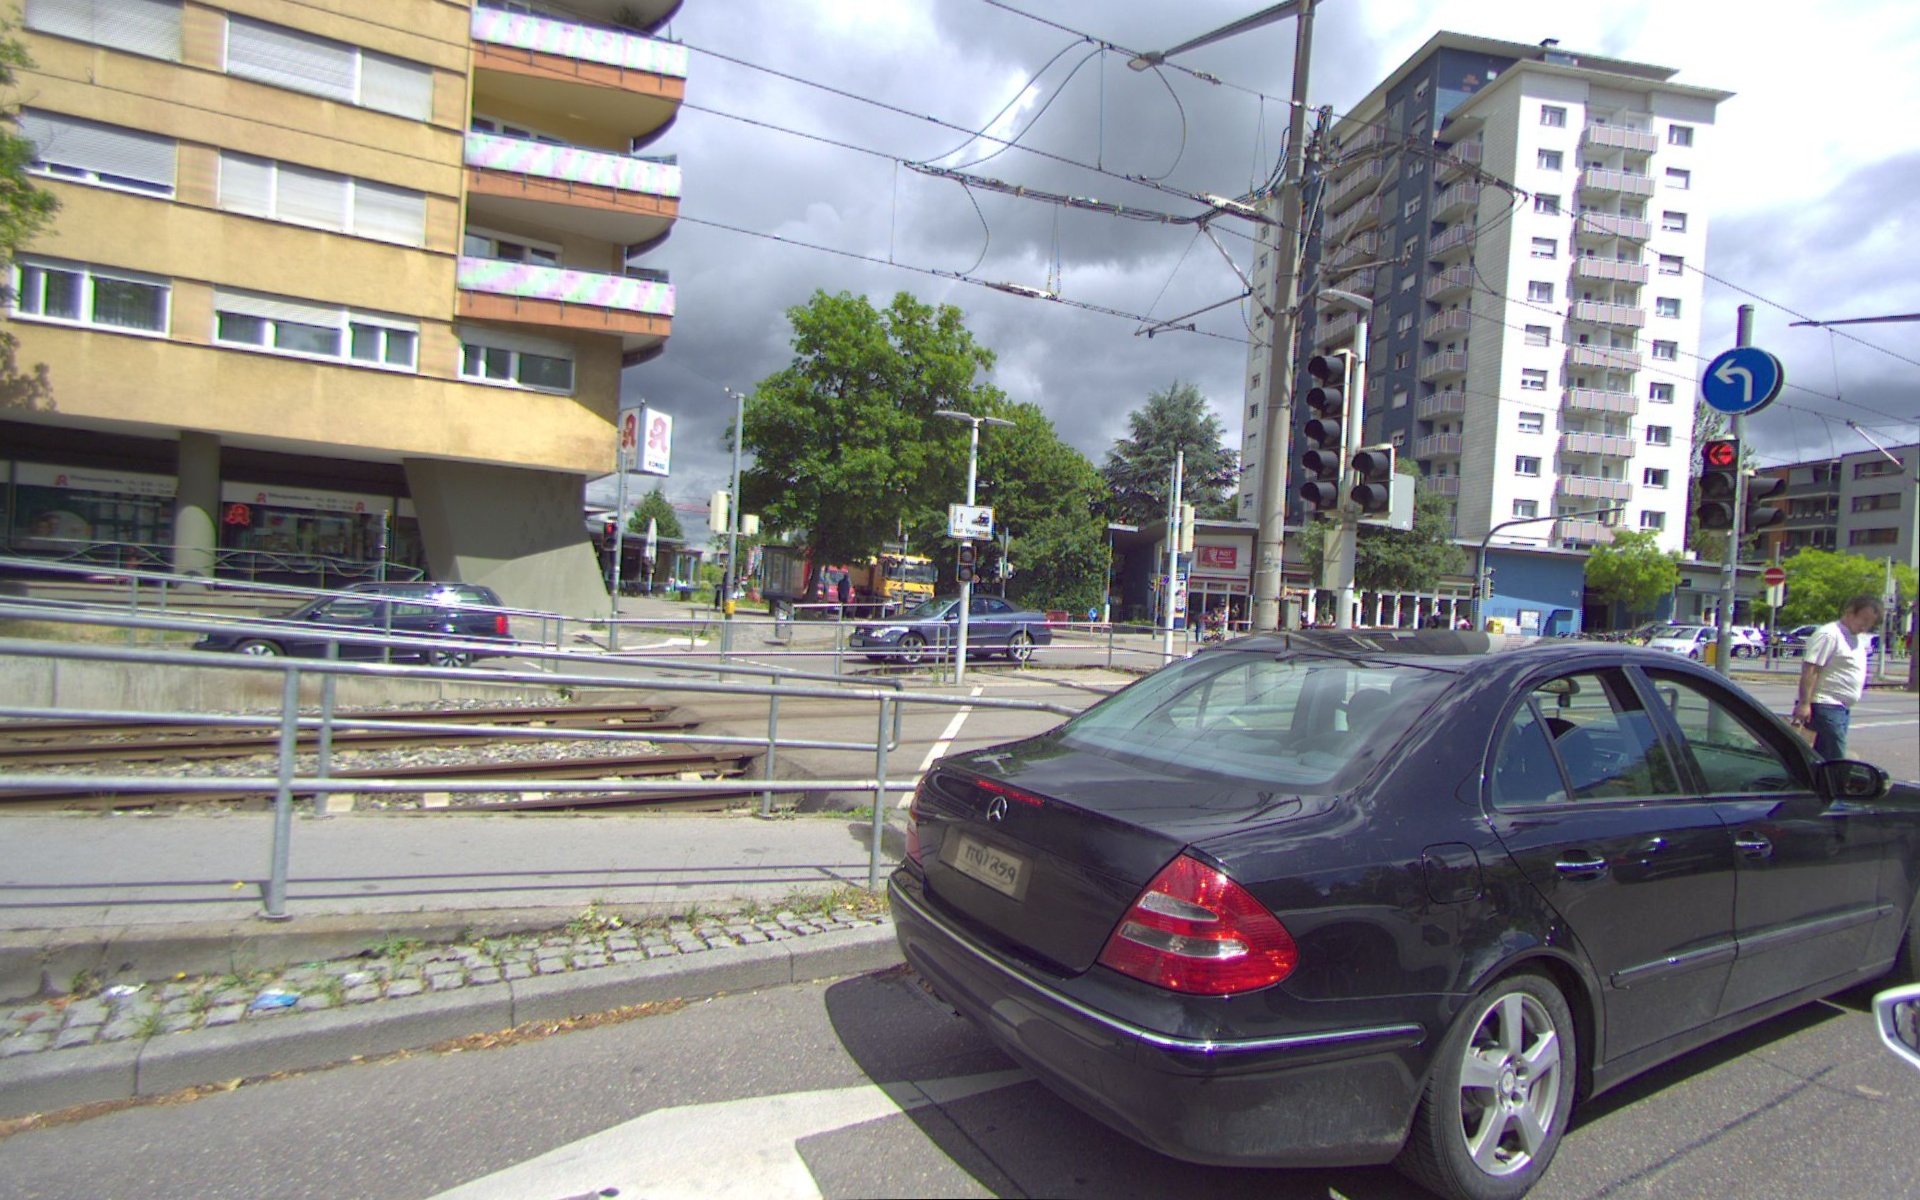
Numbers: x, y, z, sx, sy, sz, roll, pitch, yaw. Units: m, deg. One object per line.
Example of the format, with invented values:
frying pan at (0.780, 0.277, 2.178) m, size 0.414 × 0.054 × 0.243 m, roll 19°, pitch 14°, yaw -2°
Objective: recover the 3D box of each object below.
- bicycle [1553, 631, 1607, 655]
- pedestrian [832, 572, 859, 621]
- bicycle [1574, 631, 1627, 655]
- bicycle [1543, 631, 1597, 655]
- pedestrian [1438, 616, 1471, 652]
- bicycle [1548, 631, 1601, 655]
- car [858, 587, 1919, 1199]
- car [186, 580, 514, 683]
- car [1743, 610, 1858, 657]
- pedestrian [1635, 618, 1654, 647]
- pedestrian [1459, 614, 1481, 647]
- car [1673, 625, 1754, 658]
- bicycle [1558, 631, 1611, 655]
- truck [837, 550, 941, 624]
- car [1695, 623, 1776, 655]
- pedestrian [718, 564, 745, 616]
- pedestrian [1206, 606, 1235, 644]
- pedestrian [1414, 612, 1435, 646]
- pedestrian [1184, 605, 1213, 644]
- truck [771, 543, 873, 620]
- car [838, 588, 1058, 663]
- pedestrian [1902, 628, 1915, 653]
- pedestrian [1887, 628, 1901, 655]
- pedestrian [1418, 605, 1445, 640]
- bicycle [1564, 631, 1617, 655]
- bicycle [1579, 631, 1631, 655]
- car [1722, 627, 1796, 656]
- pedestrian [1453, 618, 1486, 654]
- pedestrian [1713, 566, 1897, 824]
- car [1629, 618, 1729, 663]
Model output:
bicycle at (27.067, 1.859, 43.889) m, size 0.490 × 0.947 × 1.934 m, roll 2°, pitch 0°, yaw -35°
pedestrian at (-4.109, -0.126, 35.910) m, size 0.752 × 1.636 × 0.779 m, roll 7°, pitch 1°, yaw -9°
bicycle at (28.467, 1.907, 44.684) m, size 0.490 × 0.947 × 1.934 m, roll 2°, pitch 0°, yaw -35°
bicycle at (26.285, 1.832, 43.322) m, size 0.490 × 0.947 × 1.934 m, roll 2°, pitch 0°, yaw -35°
pedestrian at (23.445, 1.617, 47.611) m, size 1.086 × 1.681 × 0.940 m, roll 2°, pitch -1°, yaw -30°
bicycle at (26.656, 1.845, 43.600) m, size 0.490 × 0.947 × 1.934 m, roll 2°, pitch 0°, yaw -35°
car at (2.031, 0.765, 3.785) m, size 4.490 × 1.481 × 1.720 m, roll 2°, pitch 0°, yaw -30°
car at (-9.391, 0.457, 15.768) m, size 4.207 × 1.433 × 1.620 m, roll 1°, pitch 0°, yaw -32°
car at (49.767, 1.925, 59.739) m, size 2.776 × 2.512 × 6.724 m, roll 2°, pitch 0°, yaw 17°
pedestrian at (38.894, 1.838, 57.090) m, size 0.759 × 1.637 × 0.694 m, roll 2°, pitch 1°, yaw 44°
pedestrian at (25.559, 1.511, 50.362) m, size 0.693 × 1.637 × 0.760 m, roll 1°, pitch 1°, yaw -43°
car at (40.104, 2.178, 53.596) m, size 1.921 × 1.591 × 4.220 m, roll 2°, pitch 0°, yaw 13°
bicycle at (27.453, 1.873, 44.161) m, size 0.490 × 0.947 × 1.934 m, roll 2°, pitch 0°, yaw -35°
truck at (-3.626, -0.616, 49.186) m, size 2.733 × 3.244 × 7.443 m, roll 2°, pitch 0°, yaw -23°
car at (42.749, 2.126, 55.475) m, size 1.921 × 1.558 × 4.220 m, roll 2°, pitch 0°, yaw 13°
pedestrian at (-7.469, -0.332, 32.786) m, size 0.753 × 1.638 × 0.776 m, roll 0°, pitch 4°, yaw -19°
pedestrian at (11.830, 1.135, 45.696) m, size 0.977 × 1.681 × 0.969 m, roll 2°, pitch -1°, yaw -4°
pedestrian at (22.910, 1.406, 49.550) m, size 0.758 × 1.637 × 0.695 m, roll 2°, pitch 1°, yaw 40°
pedestrian at (10.782, 1.101, 45.473) m, size 0.977 × 1.681 × 0.969 m, roll 2°, pitch -1°, yaw -4°
truck at (-6.891, -0.859, 48.796) m, size 2.692 × 3.320 × 8.877 m, roll 2°, pitch 0°, yaw -22°
car at (-0.191, 0.555, 21.260) m, size 4.445 × 1.418 × 1.625 m, roll 2°, pitch 0°, yaw -33°
pedestrian at (67.096, 2.846, 71.057) m, size 0.401 × 1.739 × 0.542 m, roll 1°, pitch 1°, yaw -39°
pedestrian at (60.954, 2.682, 65.550) m, size 0.663 × 1.739 × 0.542 m, roll 1°, pitch 1°, yaw -40°
pedestrian at (27.094, 1.283, 57.679) m, size 1.201 × 1.942 × 0.860 m, roll 1°, pitch 1°, yaw -32°
bicycle at (27.880, 1.888, 44.412) m, size 0.490 × 0.947 × 1.934 m, roll 2°, pitch 0°, yaw -35°
bicycle at (28.861, 1.921, 44.970) m, size 0.490 × 0.947 × 1.934 m, roll 2°, pitch 0°, yaw -35°
car at (45.470, 2.319, 57.261) m, size 1.754 × 1.439 × 4.219 m, roll 2°, pitch 0°, yaw 16°
pedestrian at (24.472, 1.712, 48.232) m, size 1.086 × 1.681 × 0.940 m, roll 2°, pitch -1°, yaw -30°
pedestrian at (6.466, 0.675, 7.704) m, size 0.734 × 1.832 × 0.863 m, roll 1°, pitch 1°, yaw -33°
car at (29.687, 1.662, 41.480) m, size 3.827 × 1.715 × 1.928 m, roll 2°, pitch 0°, yaw -30°
